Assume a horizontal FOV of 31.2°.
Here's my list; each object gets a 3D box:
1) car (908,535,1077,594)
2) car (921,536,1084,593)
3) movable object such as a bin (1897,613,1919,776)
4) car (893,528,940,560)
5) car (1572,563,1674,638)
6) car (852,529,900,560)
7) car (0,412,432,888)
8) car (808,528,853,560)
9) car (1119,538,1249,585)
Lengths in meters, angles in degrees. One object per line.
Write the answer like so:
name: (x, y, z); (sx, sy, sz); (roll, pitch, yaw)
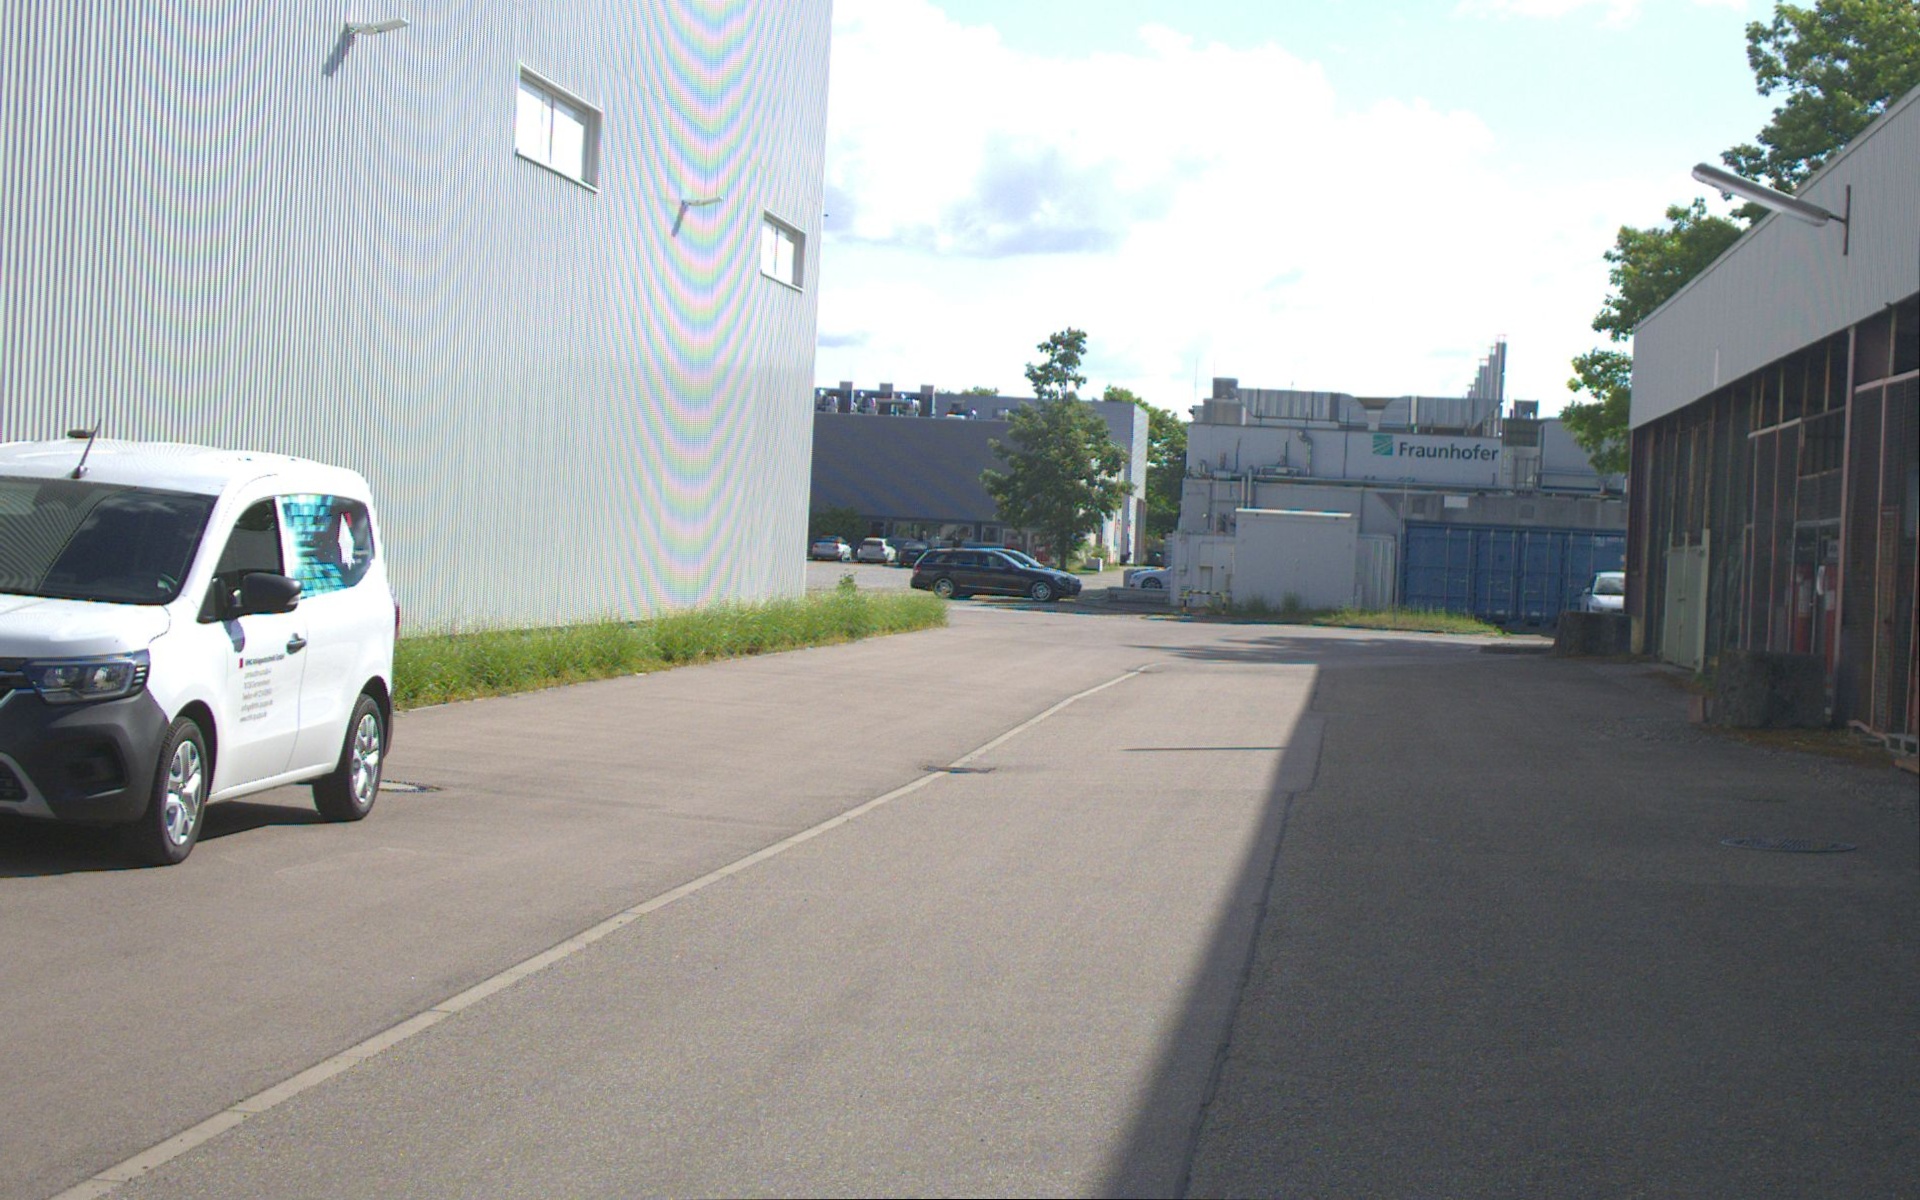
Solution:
car: (0.940, -1.017, 97.969); (4.527, 1.503, 1.908); (2, 1, 9)
car: (1.267, -1.037, 101.190); (4.527, 1.503, 1.908); (2, 1, 9)
movable object such as a bin: (7.314, 0.697, 25.481); (0.582, 1.160, 1.237); (2, 1, 11)
car: (-2.440, -3.138, 194.417); (2.194, 1.730, 3.999); (1, 0, 6)
car: (16.037, -0.010, 83.351); (1.994, 1.580, 4.172); (3, 2, 6)
car: (-4.790, -3.169, 196.417); (2.194, 1.730, 3.999); (1, 0, 6)
car: (-3.982, 0.115, 15.824); (1.891, 1.839, 4.357); (5, 1, 6)
car: (-7.398, -3.188, 196.379); (1.994, 1.730, 3.999); (1, 0, 6)
car: (8.144, -1.416, 124.899); (4.527, 1.503, 1.908); (3, 1, 8)
